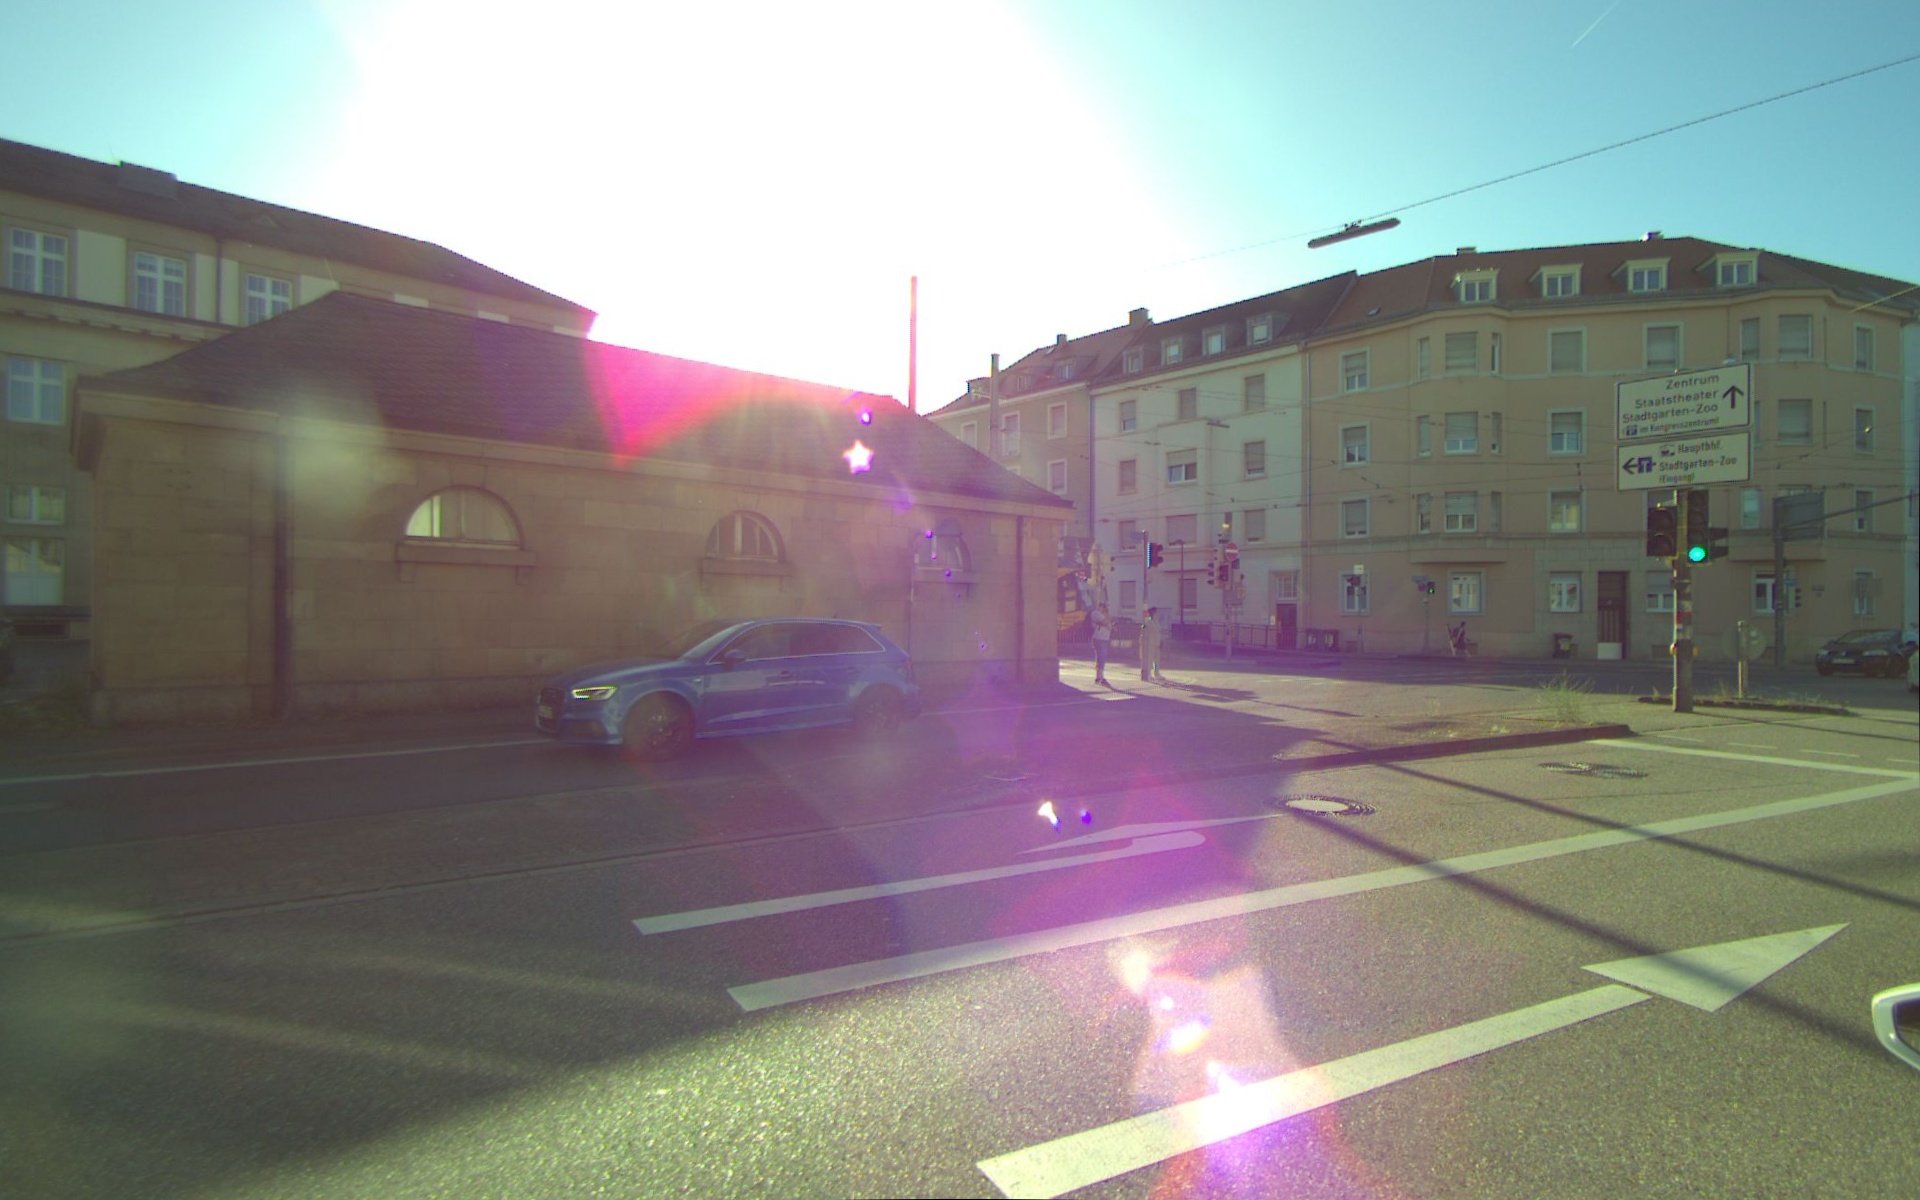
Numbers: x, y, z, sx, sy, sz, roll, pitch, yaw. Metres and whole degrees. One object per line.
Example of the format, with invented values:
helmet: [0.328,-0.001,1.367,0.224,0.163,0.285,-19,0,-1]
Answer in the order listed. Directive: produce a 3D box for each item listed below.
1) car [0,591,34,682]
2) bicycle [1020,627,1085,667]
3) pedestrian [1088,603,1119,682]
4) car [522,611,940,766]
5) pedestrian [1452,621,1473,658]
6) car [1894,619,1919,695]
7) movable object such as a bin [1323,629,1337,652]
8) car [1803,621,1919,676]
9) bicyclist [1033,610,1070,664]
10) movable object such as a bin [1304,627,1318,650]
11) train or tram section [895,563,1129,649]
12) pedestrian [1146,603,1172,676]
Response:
car: [-17.316,0.560,17.288,1.833,1.448,3.952,1,0,-40]
bicycle: [2.909,1.470,31.705,2.044,1.151,0.682,2,0,43]
pedestrian: [3.047,0.891,21.290,0.505,1.662,0.625,0,-1,21]
car: [-2.440,0.848,11.230,4.209,1.409,1.797,1,-1,-38]
pedestrian: [21.435,1.672,42.847,0.706,1.584,0.677,0,-1,20]
car: [19.684,1.090,19.643,1.765,1.412,4.088,0,-1,39]
movable object such as a bin: [17.297,1.887,46.939,0.479,1.046,0.445,1,-1,-42]
car: [26.039,1.345,28.354,4.268,1.444,1.818,1,-1,-25]
bicyclist: [2.887,1.159,31.748,0.926,1.661,0.674,1,0,43]
movable object such as a bin: [16.633,1.805,47.627,0.479,1.080,0.445,1,-1,-42]
train or tram section: [1.932,0.269,44.849,3.144,3.365,11.673,1,-1,-42]
pedestrian: [4.630,0.908,23.322,0.479,1.662,0.625,0,-1,21]
